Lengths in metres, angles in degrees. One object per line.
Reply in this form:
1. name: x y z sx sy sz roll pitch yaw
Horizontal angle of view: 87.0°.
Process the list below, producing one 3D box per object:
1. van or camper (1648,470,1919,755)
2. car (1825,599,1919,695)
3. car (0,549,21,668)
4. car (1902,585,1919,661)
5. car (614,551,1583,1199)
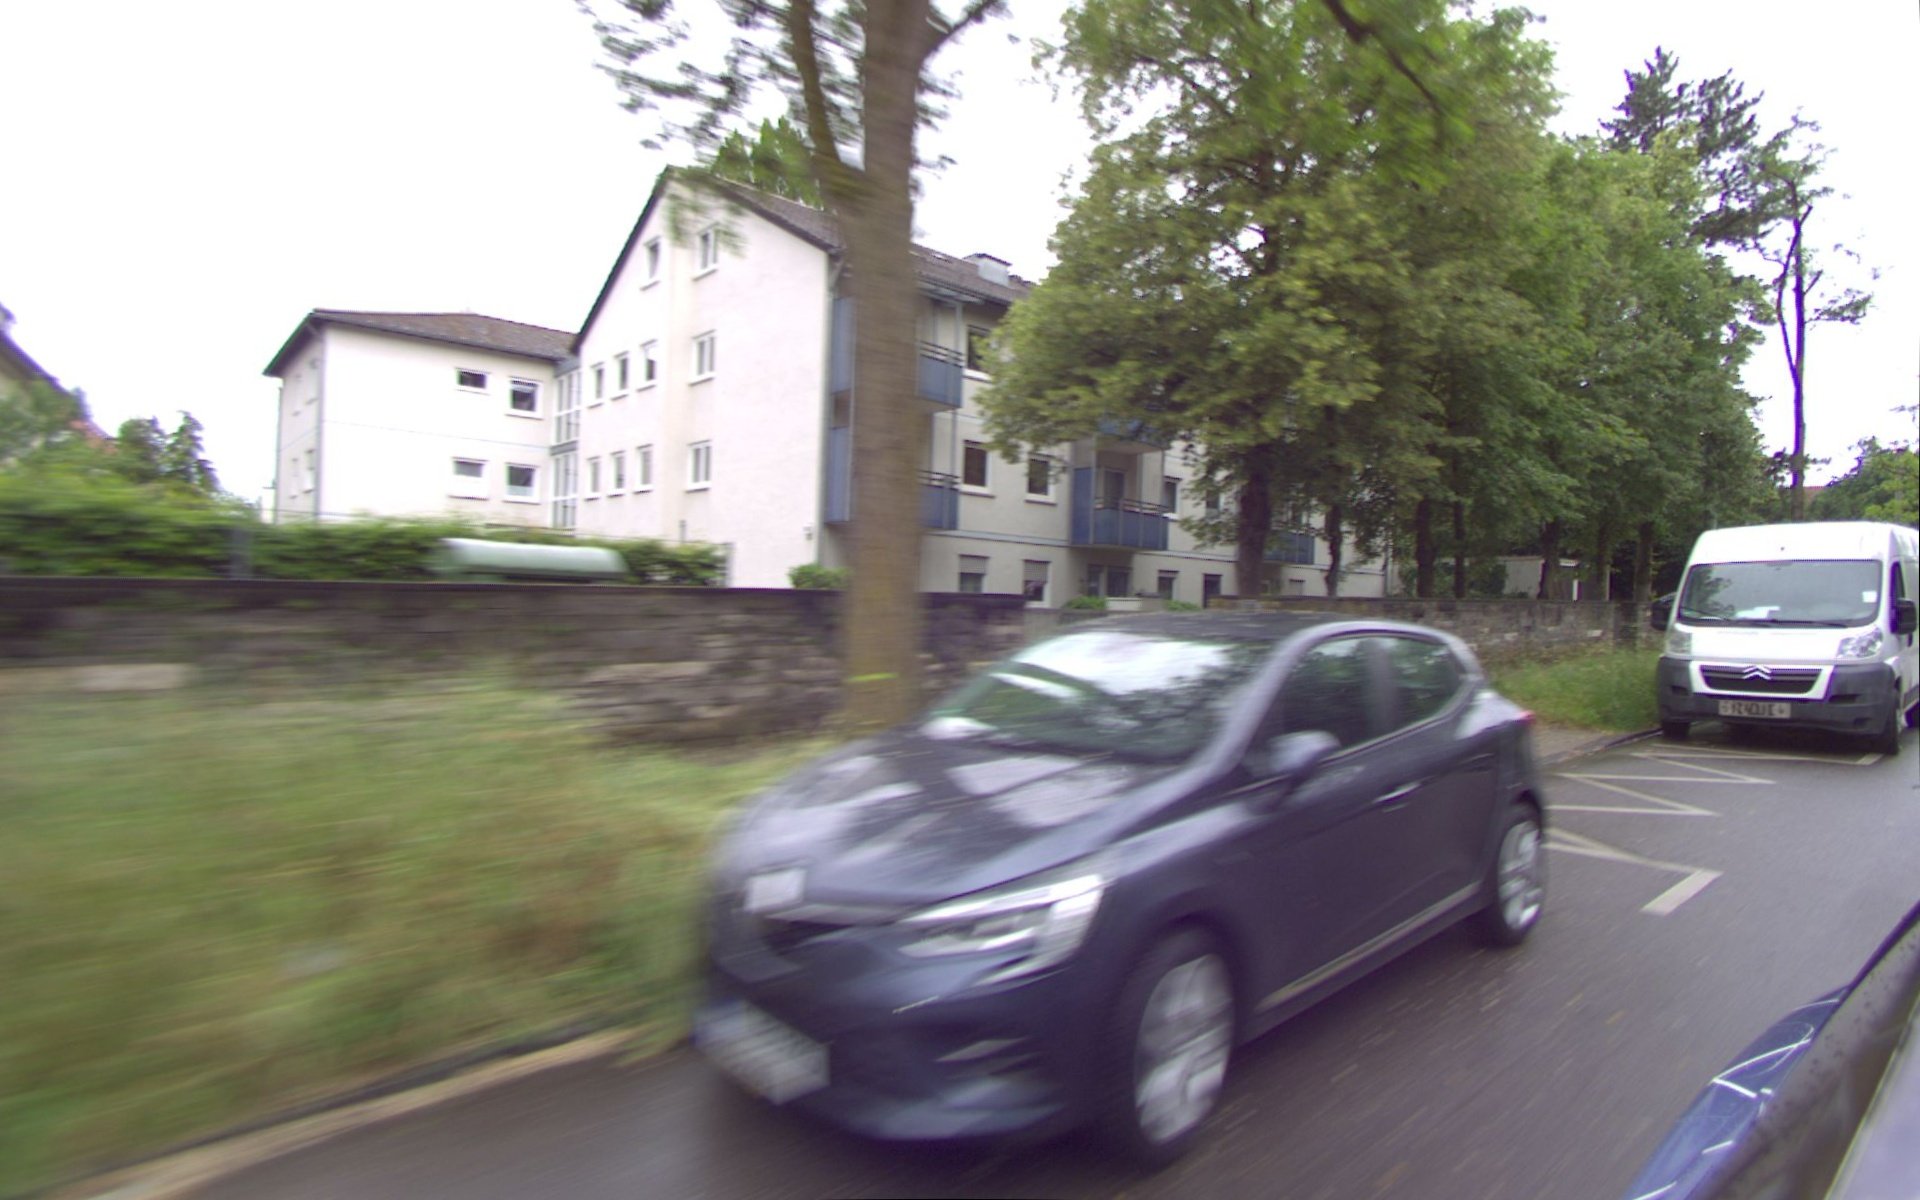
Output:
1. van or camper: 10.200 0.153 12.062 5.252 2.685 2.081 1 -1 -41
2. car: 16.096 0.746 17.034 3.738 1.483 1.629 1 -1 -38
3. car: -15.706 0.103 14.034 3.696 1.710 1.737 1 -1 -36
4. car: 25.159 0.583 25.477 4.210 1.836 1.816 1 -1 -43
5. car: 0.889 0.681 3.987 3.897 1.498 1.742 1 -1 -44
